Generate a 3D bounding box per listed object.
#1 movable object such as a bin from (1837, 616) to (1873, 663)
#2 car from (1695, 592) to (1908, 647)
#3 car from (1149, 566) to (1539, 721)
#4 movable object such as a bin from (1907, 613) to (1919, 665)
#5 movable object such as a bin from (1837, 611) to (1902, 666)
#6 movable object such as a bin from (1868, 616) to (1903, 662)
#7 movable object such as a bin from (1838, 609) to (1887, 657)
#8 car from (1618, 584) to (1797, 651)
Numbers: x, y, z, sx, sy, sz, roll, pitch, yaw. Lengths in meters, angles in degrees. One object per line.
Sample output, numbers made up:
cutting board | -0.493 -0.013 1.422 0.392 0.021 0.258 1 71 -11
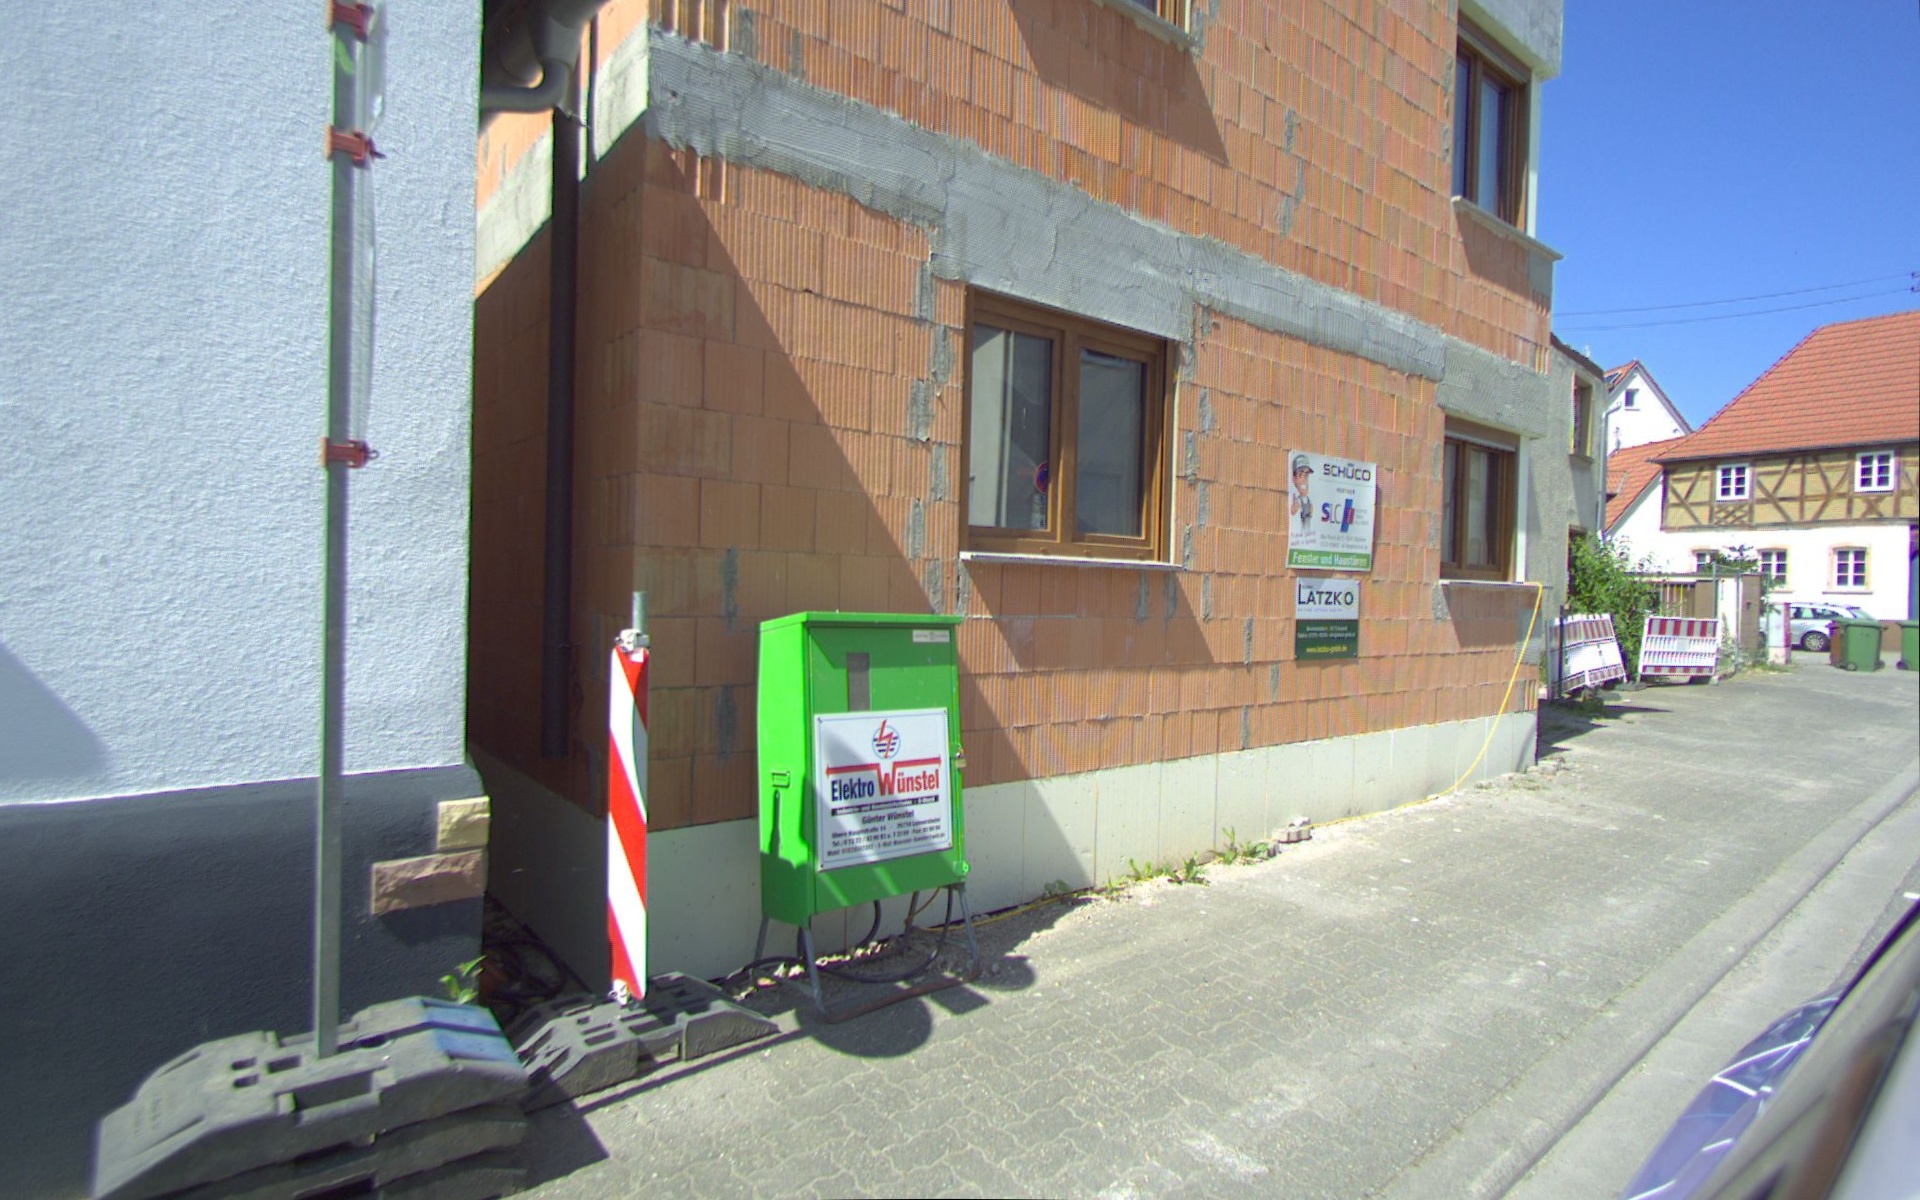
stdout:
movable object such as a bin | 19.625 0.862 22.193 0.486 0.982 0.466 1 0 -33
car | 26.519 0.563 32.099 1.960 1.470 4.774 1 1 -29
car | 4.593 0.398 12.507 1.840 1.526 4.091 0 2 -45
movable object such as a bin | 21.041 0.852 21.870 0.625 1.106 0.689 1 1 -32
movable object such as a bin | 18.925 0.794 21.074 0.751 1.085 0.668 1 0 17
movable object such as a bin | 19.975 0.841 21.840 0.453 0.961 0.446 1 1 -32
movable object such as a bin | 21.754 0.786 24.398 0.741 1.095 0.722 1 1 -36
car | 18.813 0.444 25.465 4.207 1.547 1.820 1 1 -25
